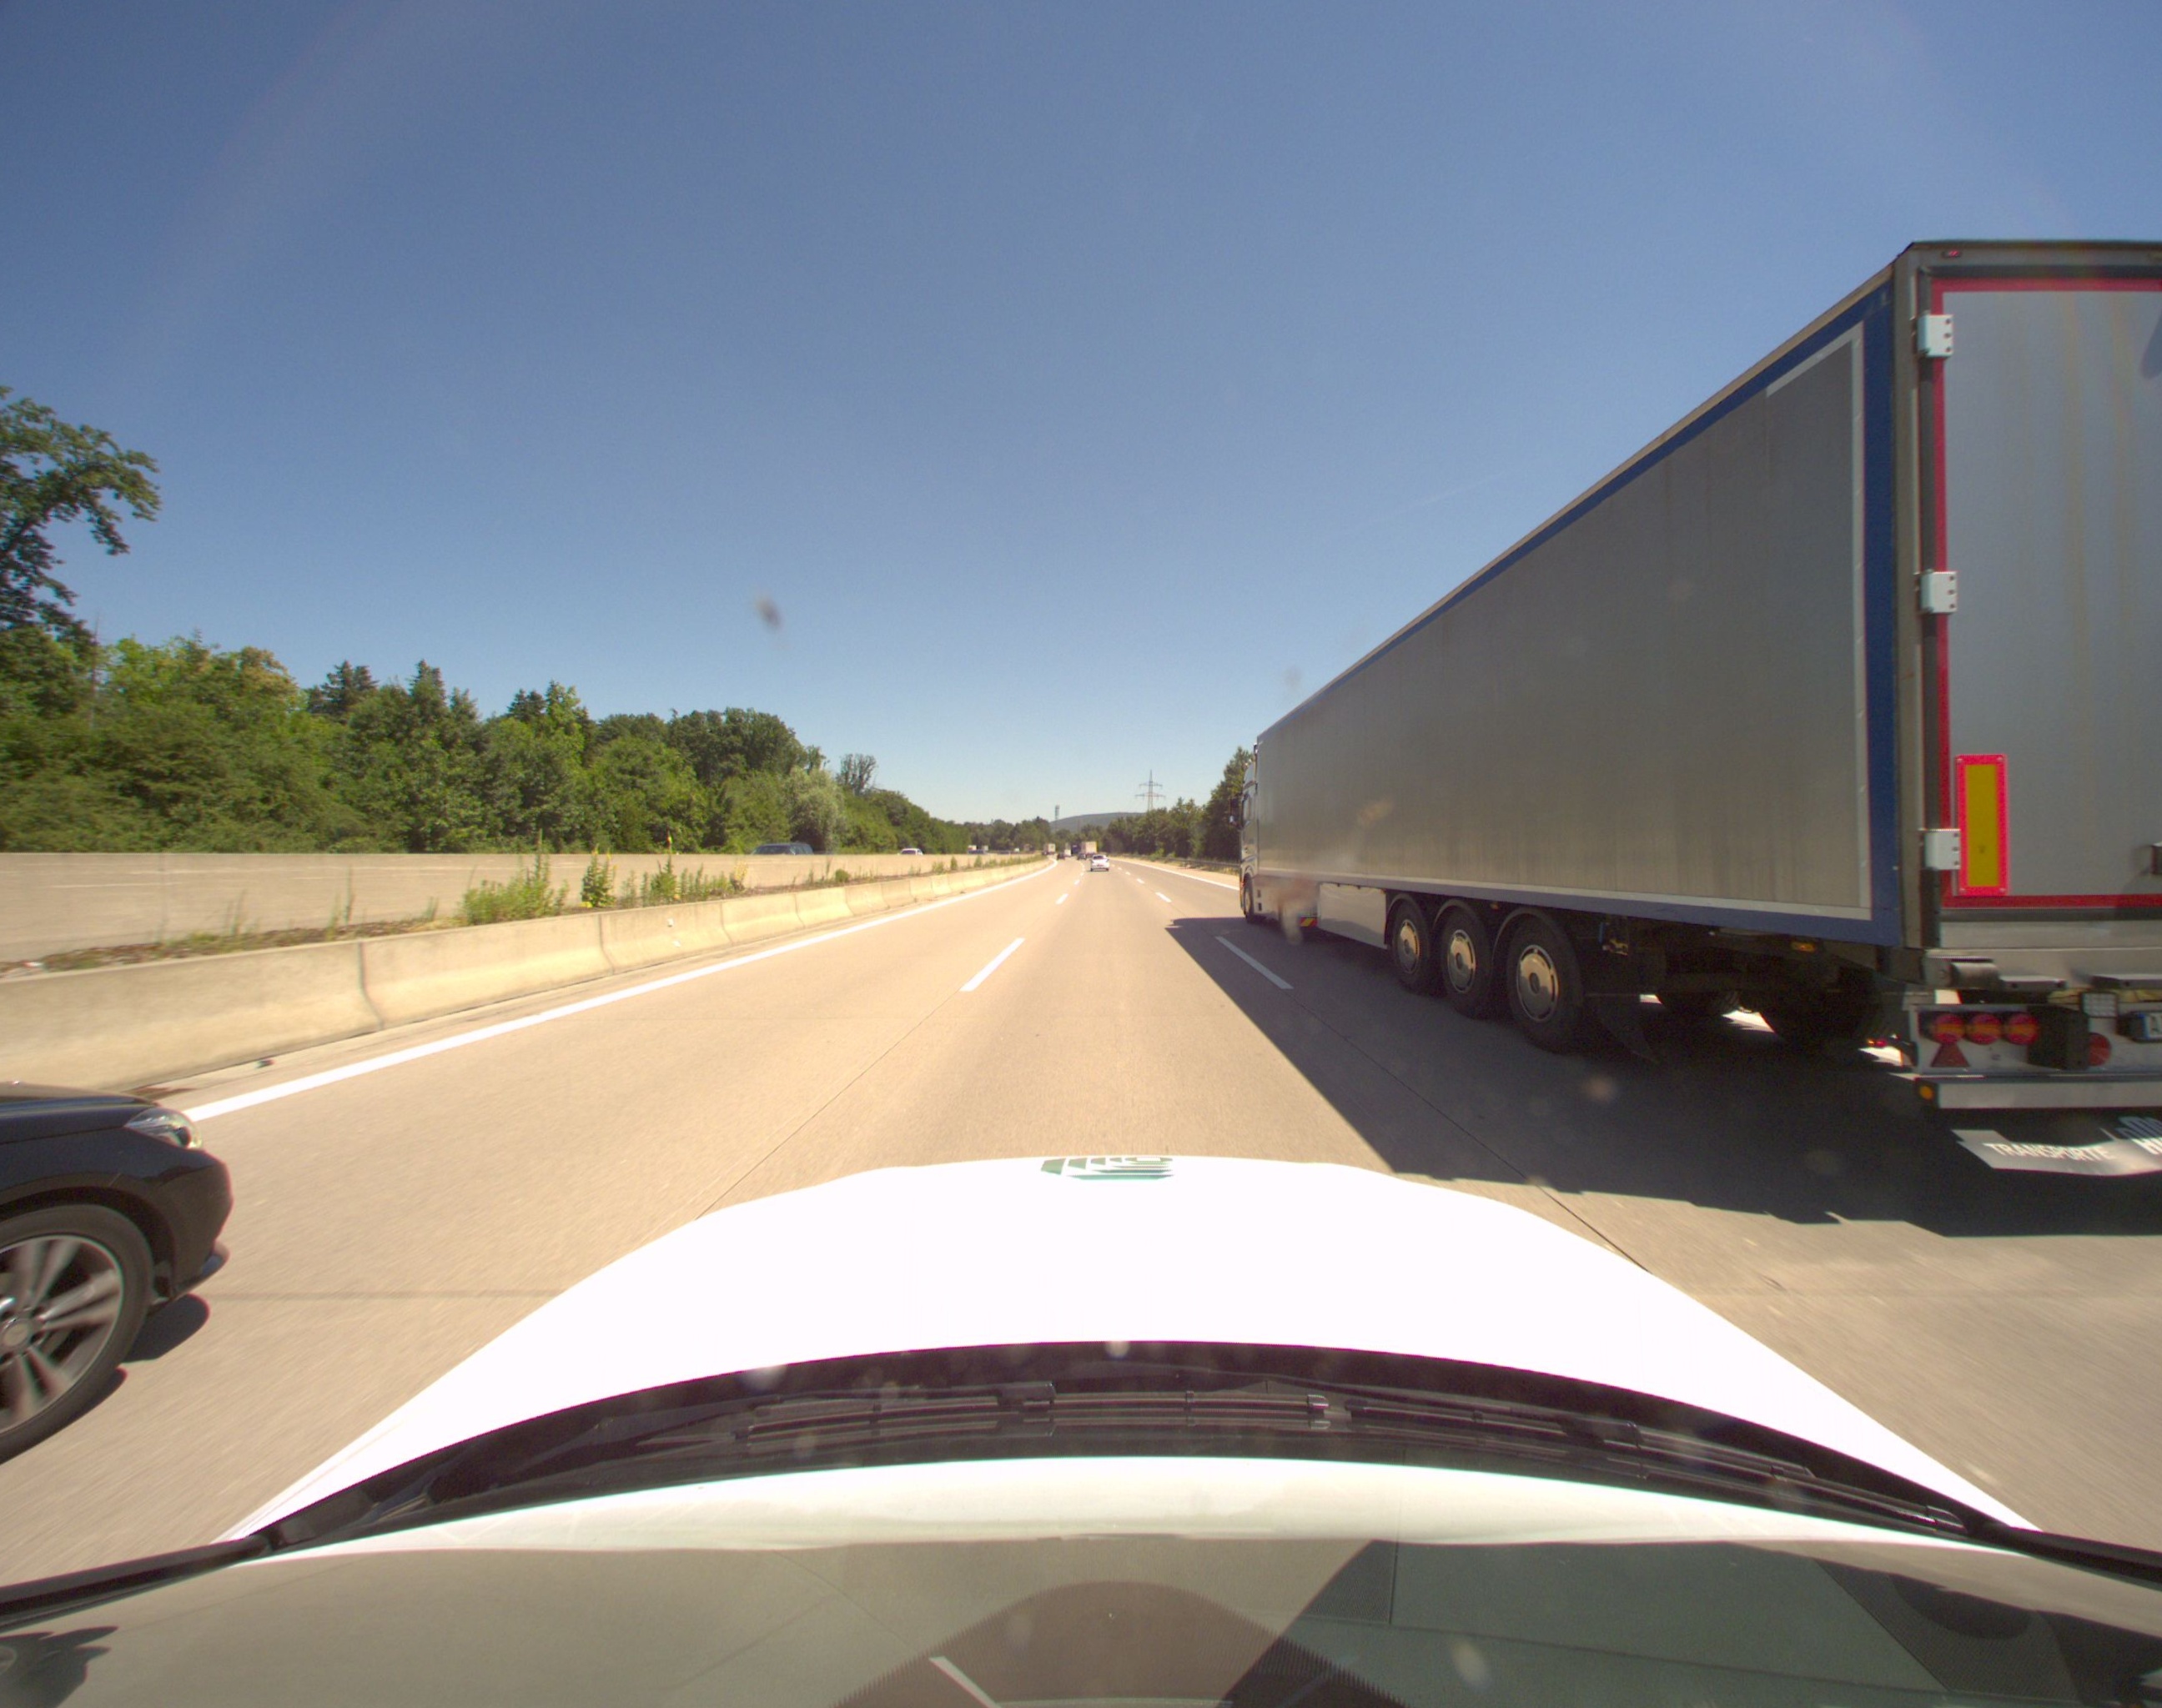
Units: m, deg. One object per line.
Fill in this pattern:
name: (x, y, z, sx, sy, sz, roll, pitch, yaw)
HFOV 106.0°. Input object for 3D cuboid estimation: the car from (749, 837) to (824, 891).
car: (-11.847, 0.384, 32.979, 1.630, 2.013, 3.653, -1, 0, 1)

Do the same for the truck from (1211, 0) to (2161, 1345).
truck: (5.092, -1.148, 12.062, 3.565, 5.787, 18.250, 2, 0, 1)

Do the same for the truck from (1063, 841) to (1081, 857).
truck: (-2.738, -1.577, 249.792, 3.903, 4.741, 14.016, -2, 0, -7)

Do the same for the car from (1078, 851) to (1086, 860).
car: (0.159, 0.315, 166.732, 1.605, 1.725, 3.571, -2, 0, -1)

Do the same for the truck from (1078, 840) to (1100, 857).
truck: (1.977, -1.364, 203.176, 3.815, 3.889, 14.123, -2, 0, -6)

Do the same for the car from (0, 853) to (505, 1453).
car: (-3.679, 0.776, 0.898, 1.883, 1.473, 5.607, -1, 0, 2)

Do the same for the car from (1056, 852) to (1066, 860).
car: (-4.456, 0.496, 180.929, 2.016, 1.700, 3.999, 4, 0, 0)

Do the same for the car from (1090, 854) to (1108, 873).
car: (1.678, 0.849, 75.935, 1.635, 1.662, 3.361, 3, 0, 1)

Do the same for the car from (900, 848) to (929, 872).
car: (-14.657, 0.548, 71.934, 1.629, 2.013, 4.104, -1, 0, 1)

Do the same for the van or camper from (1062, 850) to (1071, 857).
van or camper: (-4.044, -0.052, 225.481, 1.870, 1.838, 3.982, -2, 0, -13)
